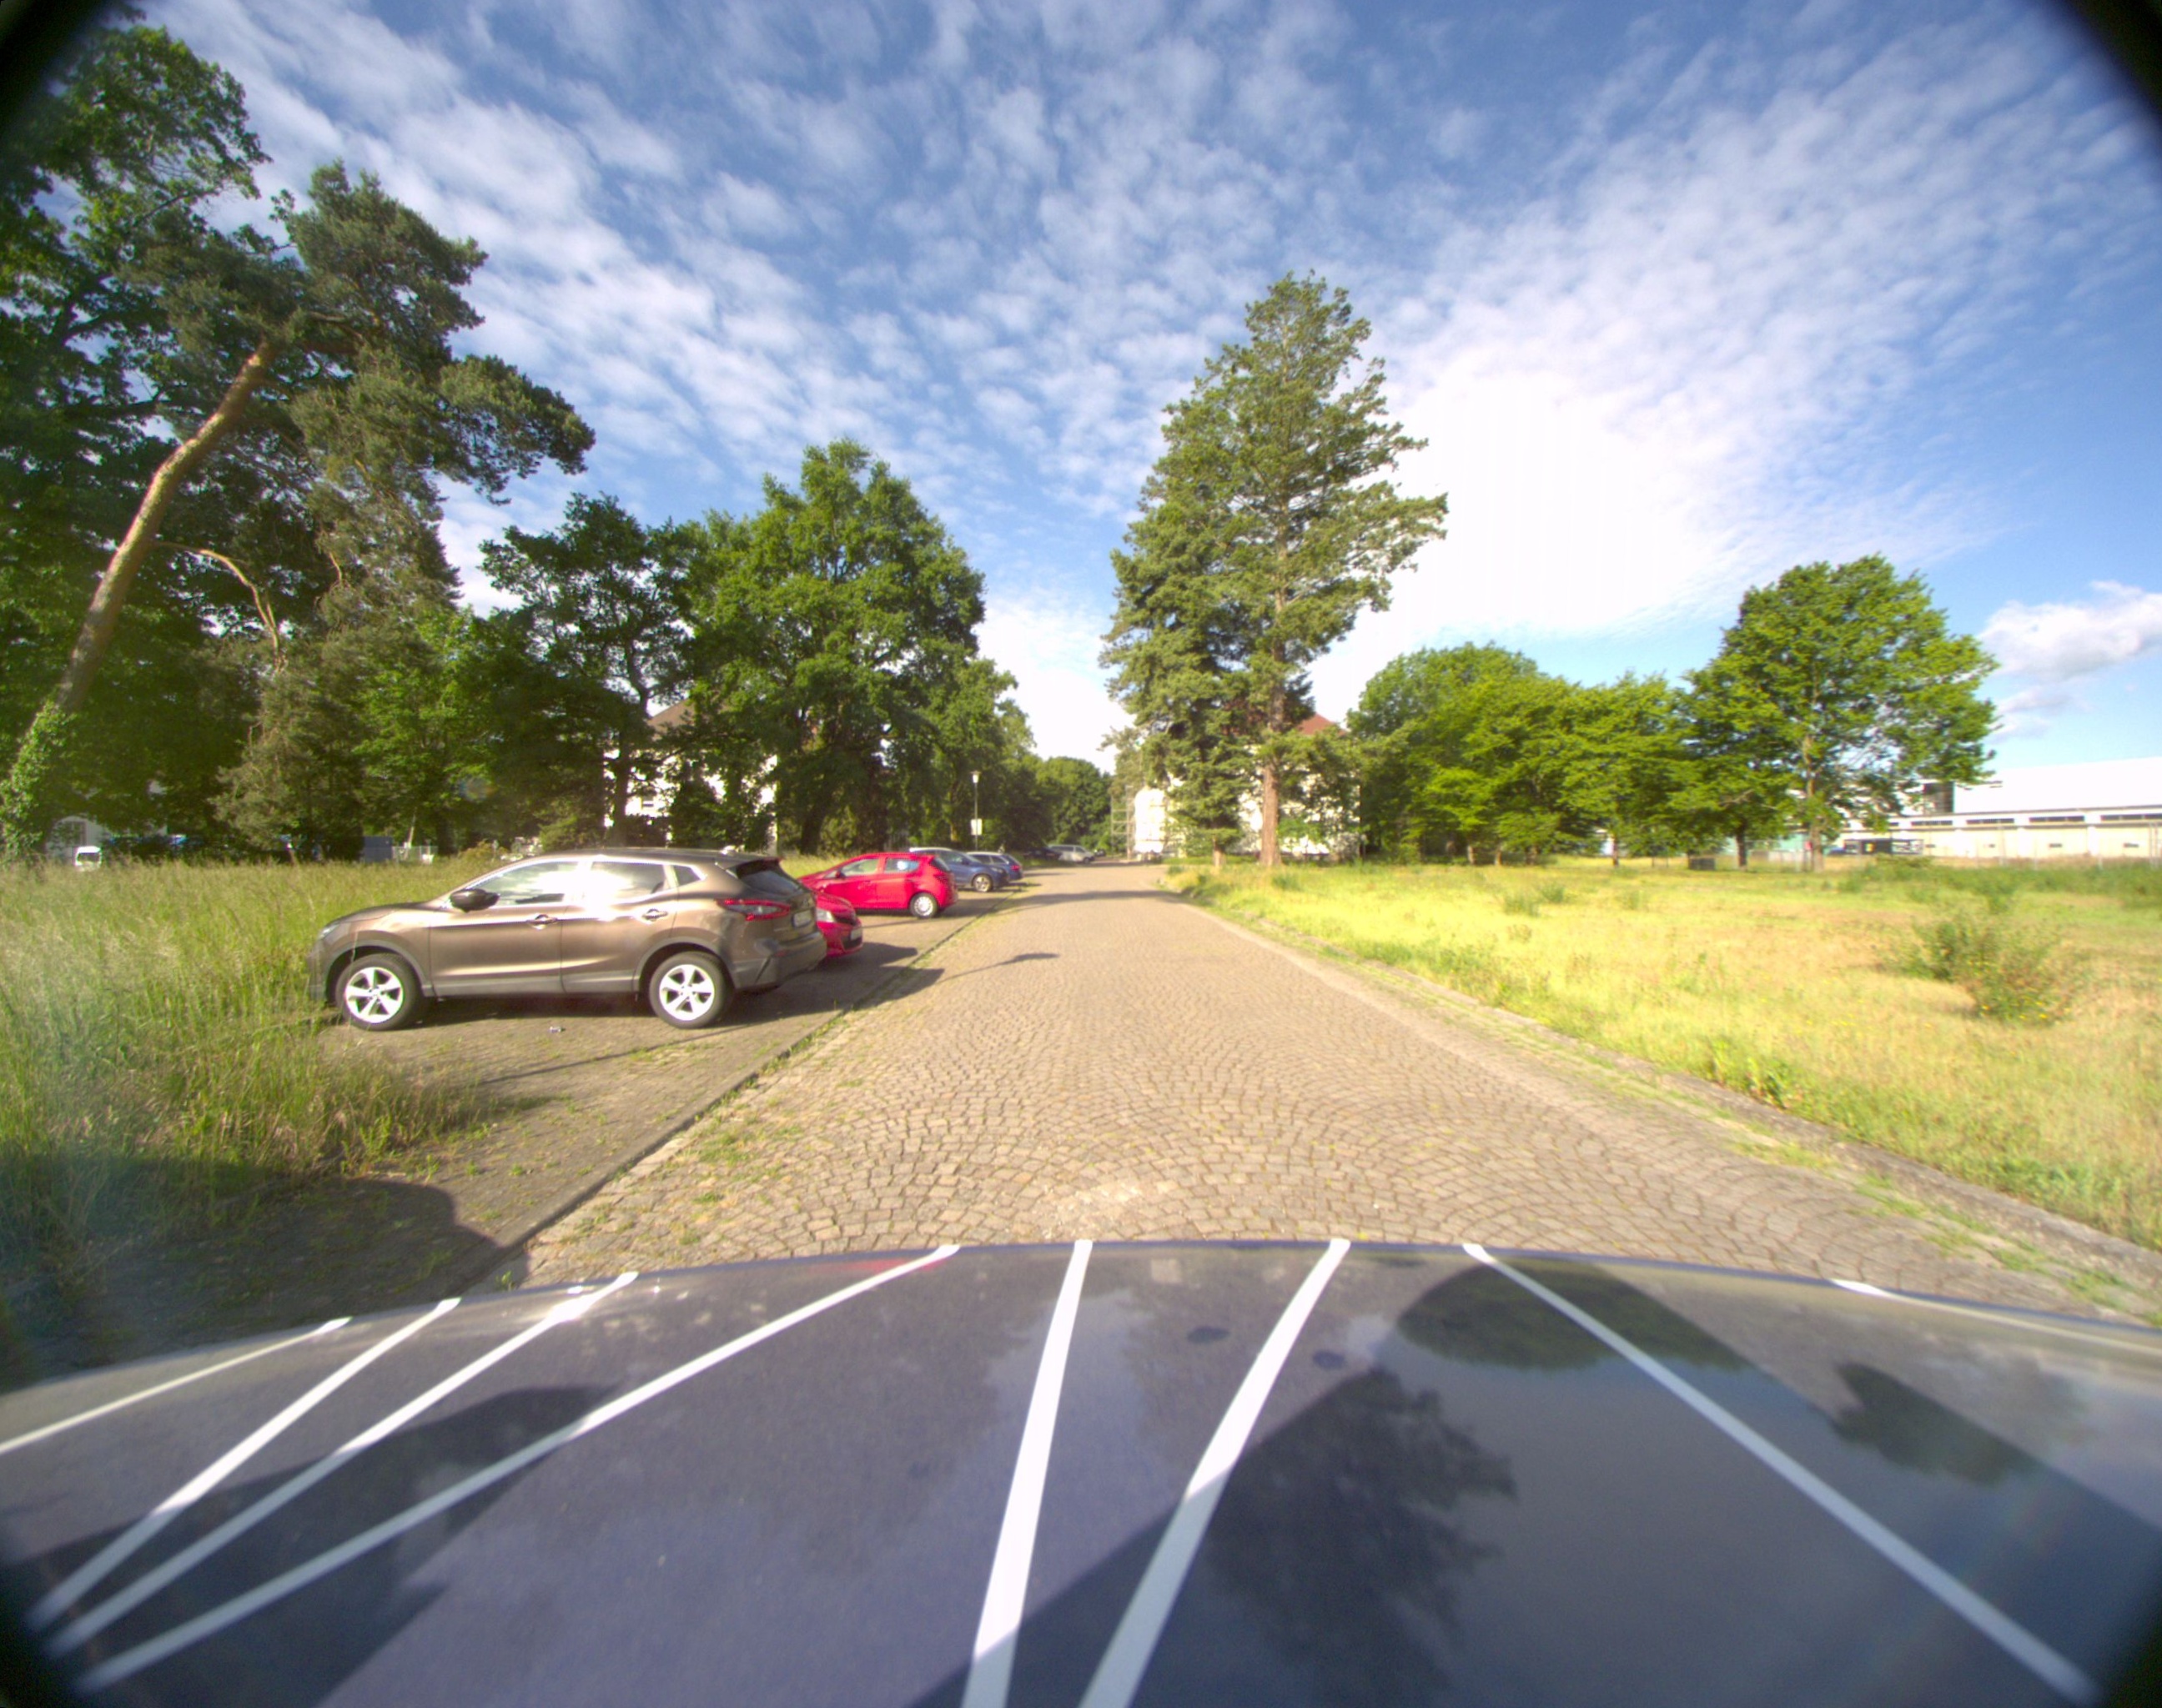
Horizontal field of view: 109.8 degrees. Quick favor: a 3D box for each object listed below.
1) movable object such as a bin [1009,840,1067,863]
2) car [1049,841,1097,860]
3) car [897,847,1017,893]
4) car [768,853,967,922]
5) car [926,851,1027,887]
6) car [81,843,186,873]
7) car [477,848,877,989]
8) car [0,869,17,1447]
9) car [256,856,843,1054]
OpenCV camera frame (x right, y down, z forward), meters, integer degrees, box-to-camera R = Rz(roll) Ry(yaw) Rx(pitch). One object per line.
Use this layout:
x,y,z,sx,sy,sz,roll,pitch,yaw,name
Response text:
-3.868,-0.208,68.484,4.865,2.002,2.002,-1,1,13,movable object such as a bin
-0.857,-0.389,81.423,4.933,2.002,1.998,1,1,-6,car
-4.493,0.583,27.929,4.098,1.548,1.852,1,0,-2,car
-4.859,0.740,17.744,4.098,1.451,1.852,1,0,-2,car
-4.419,0.627,32.656,4.098,1.415,1.784,1,0,-2,car
-68.218,0.262,54.844,1.906,1.928,4.394,-2,1,1,car
-5.067,0.775,10.051,4.237,1.589,1.934,1,1,-3,car
-5.122,0.799,1.088,4.409,1.568,1.939,1,1,0,car
-4.714,0.845,7.347,4.237,1.589,1.934,0,2,-3,car
